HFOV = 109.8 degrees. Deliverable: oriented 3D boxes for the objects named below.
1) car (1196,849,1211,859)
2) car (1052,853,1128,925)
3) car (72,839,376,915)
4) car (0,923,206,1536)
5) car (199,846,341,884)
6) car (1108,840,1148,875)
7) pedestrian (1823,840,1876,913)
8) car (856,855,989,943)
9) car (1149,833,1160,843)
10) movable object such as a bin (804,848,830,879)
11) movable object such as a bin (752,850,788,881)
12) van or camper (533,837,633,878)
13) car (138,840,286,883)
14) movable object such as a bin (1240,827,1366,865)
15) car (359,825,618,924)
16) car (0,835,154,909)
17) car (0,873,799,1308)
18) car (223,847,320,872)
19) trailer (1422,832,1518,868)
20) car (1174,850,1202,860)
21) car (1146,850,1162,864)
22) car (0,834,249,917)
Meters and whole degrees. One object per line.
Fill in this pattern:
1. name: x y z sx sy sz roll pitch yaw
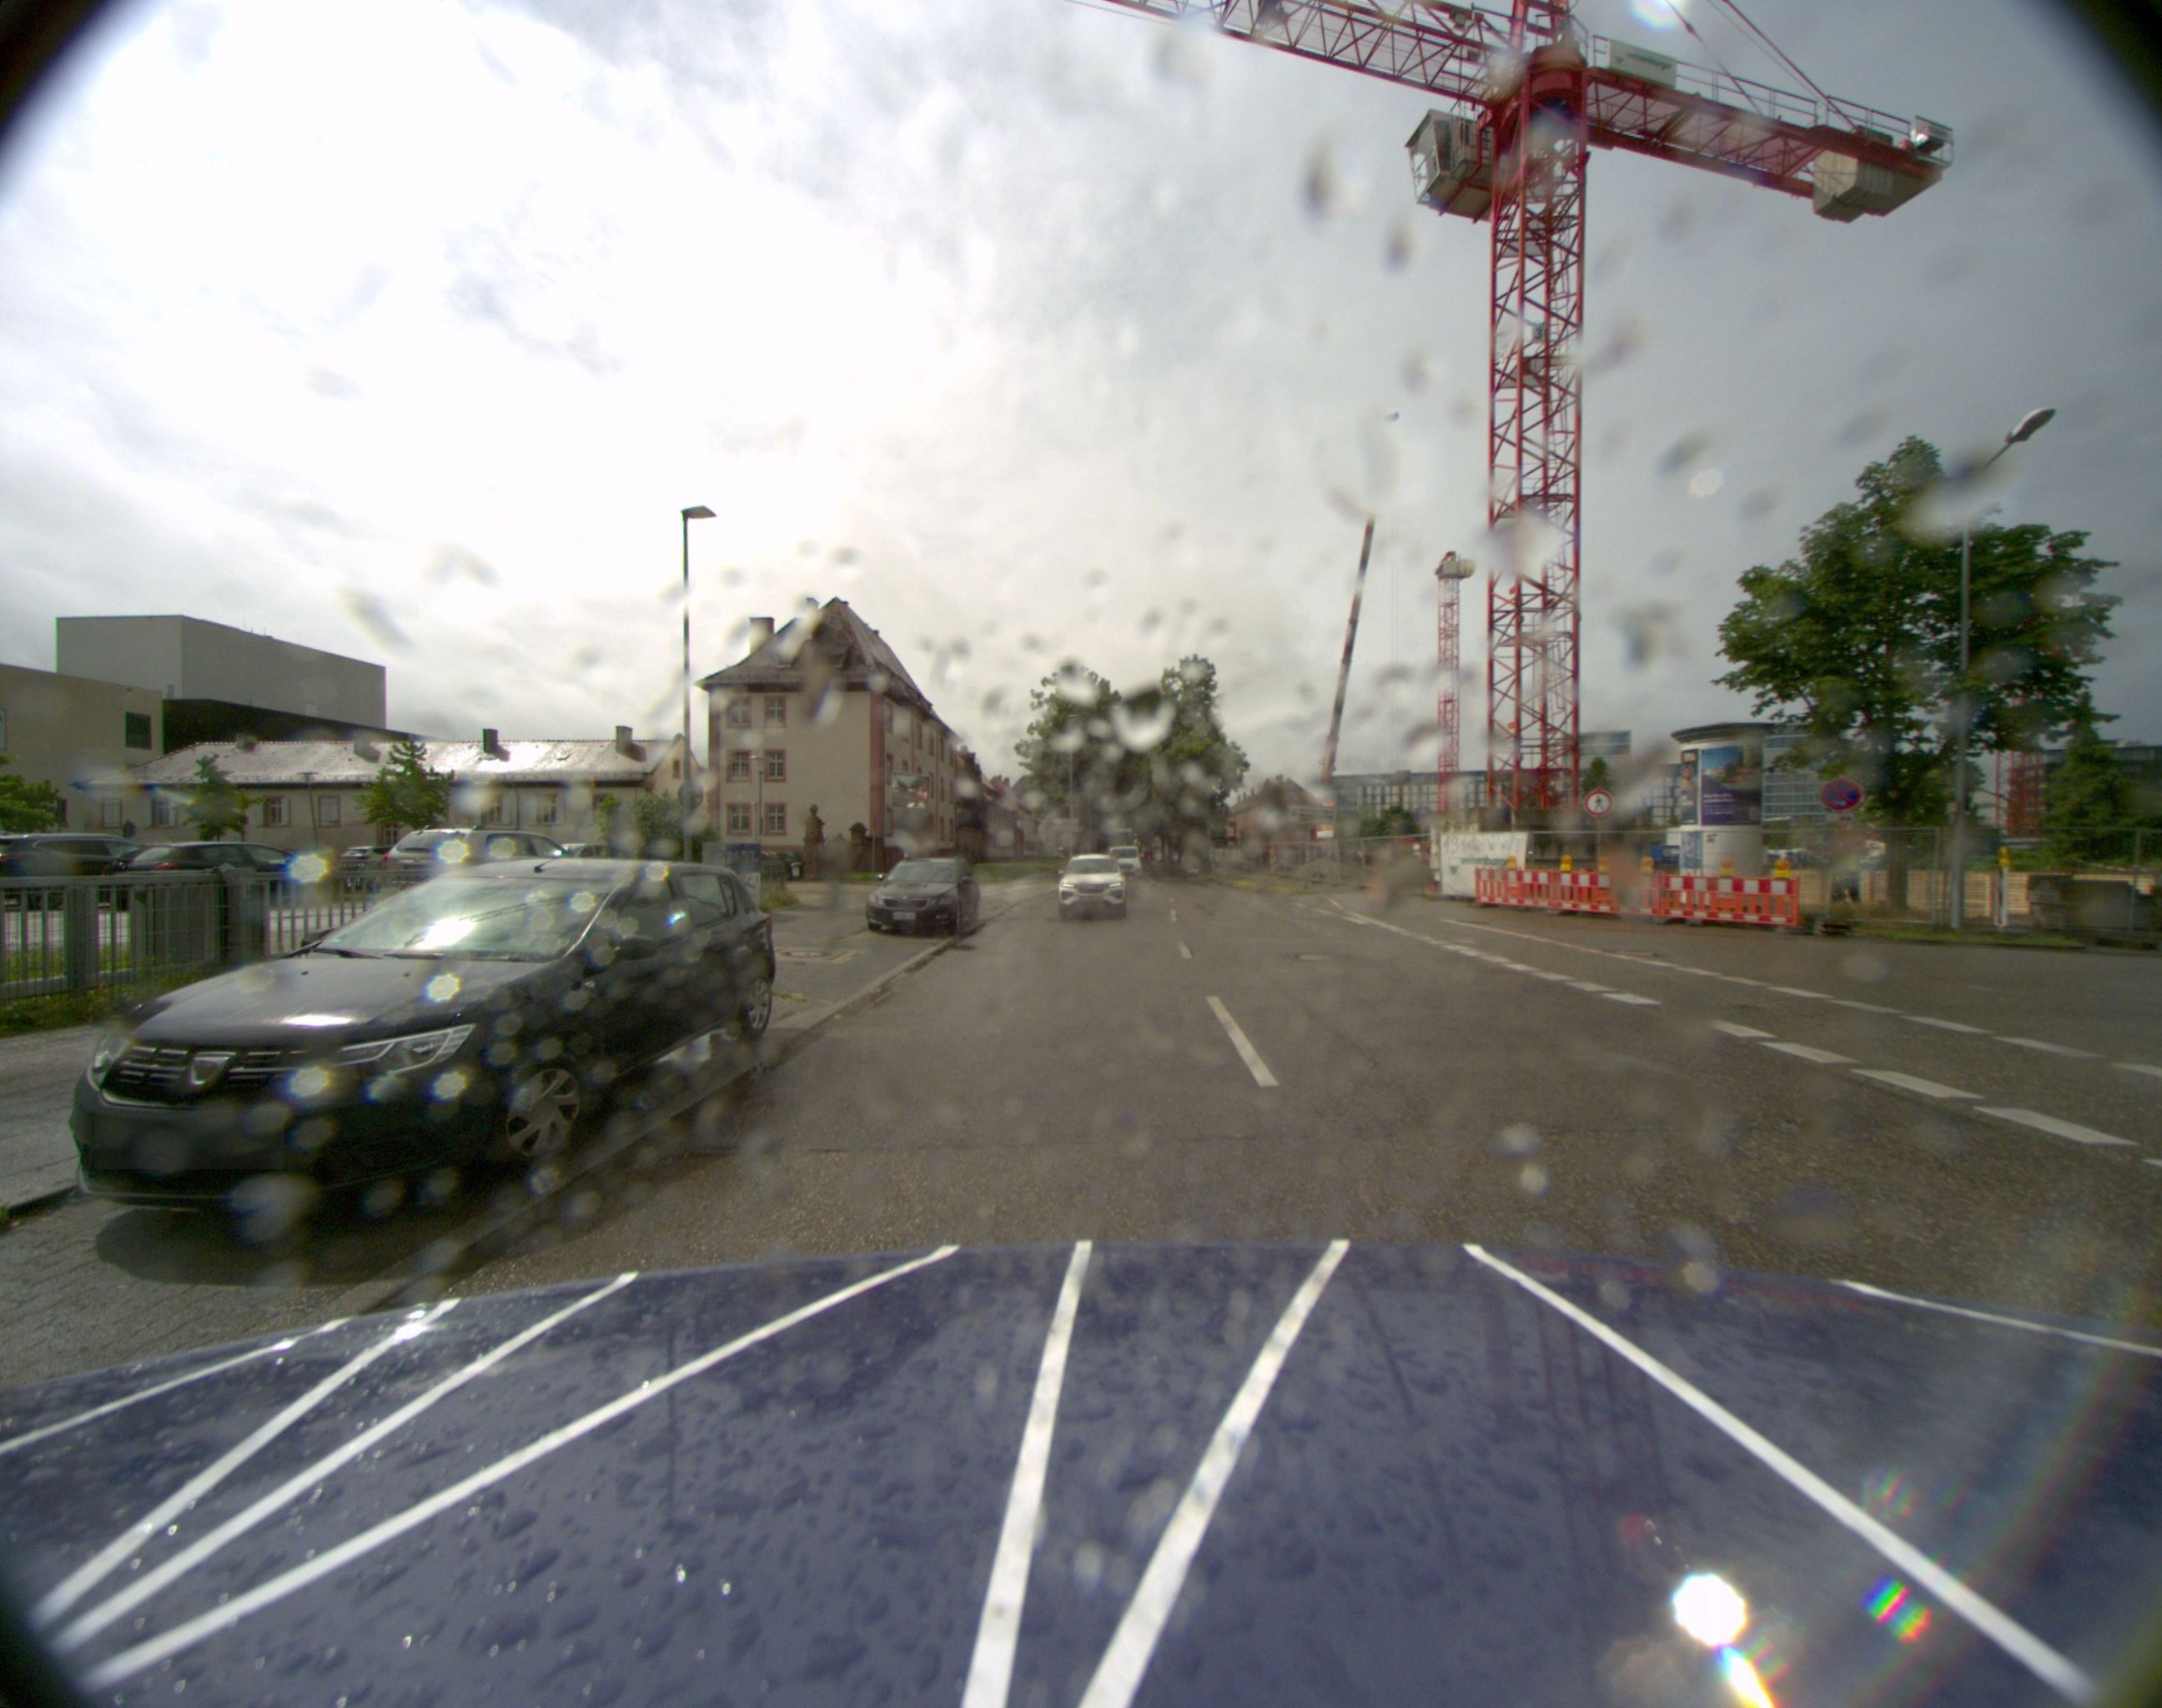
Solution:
1. car: 19.673 0.018 122.211 1.693 1.521 3.999 -2 1 0
2. car: 0.284 0.754 18.375 1.608 1.499 4.000 -1 1 3
3. car: -19.552 0.454 17.704 1.832 1.518 4.426 1 0 8
4. car: -3.550 0.980 0.281 1.608 1.499 4.159 2 1 1
5. car: -34.603 0.419 32.566 1.758 1.445 3.807 -2 1 5
6. car: 2.835 0.174 46.907 2.107 1.990 5.433 -2 1 0
7. pedestrian: 17.188 0.493 17.011 0.619 1.610 0.550 1 1 18
8. car: -3.192 0.832 16.236 1.778 1.531 4.378 2 0 1
9. car: 12.530 -2.721 130.053 1.817 1.531 3.983 2 0 4
10. movable object such as a bin: -12.802 0.457 36.876 0.801 1.448 1.097 2 0 4
11. movable object such as a bin: -15.129 0.560 36.979 1.108 1.448 1.391 2 0 4
12. van or camper: -27.558 0.189 42.300 1.793 2.104 5.187 -1 0 4
13. car: -37.321 0.280 32.776 1.758 1.682 3.807 -2 1 5
14. movable object such as a bin: 29.844 -1.047 102.727 15.939 4.532 3.102 -2 1 6
15. car: -11.907 0.351 15.714 1.807 1.739 4.239 1 0 5
16. car: -25.199 0.395 17.608 1.857 1.669 4.425 1 0 5
17. car: -3.405 0.959 4.900 1.761 1.519 3.999 1 1 -1
18. car: -47.000 0.292 44.234 1.707 1.369 3.575 2 0 4
19. trailer: 39.558 -0.519 78.158 2.967 3.214 14.309 -4 1 2
20. car: 16.491 0.157 116.878 3.863 1.543 1.700 -1 1 24
21. car: 8.835 0.316 91.961 1.845 1.598 4.001 -1 0 4
22. car: -22.255 0.415 17.117 1.856 1.669 4.426 1 0 9
